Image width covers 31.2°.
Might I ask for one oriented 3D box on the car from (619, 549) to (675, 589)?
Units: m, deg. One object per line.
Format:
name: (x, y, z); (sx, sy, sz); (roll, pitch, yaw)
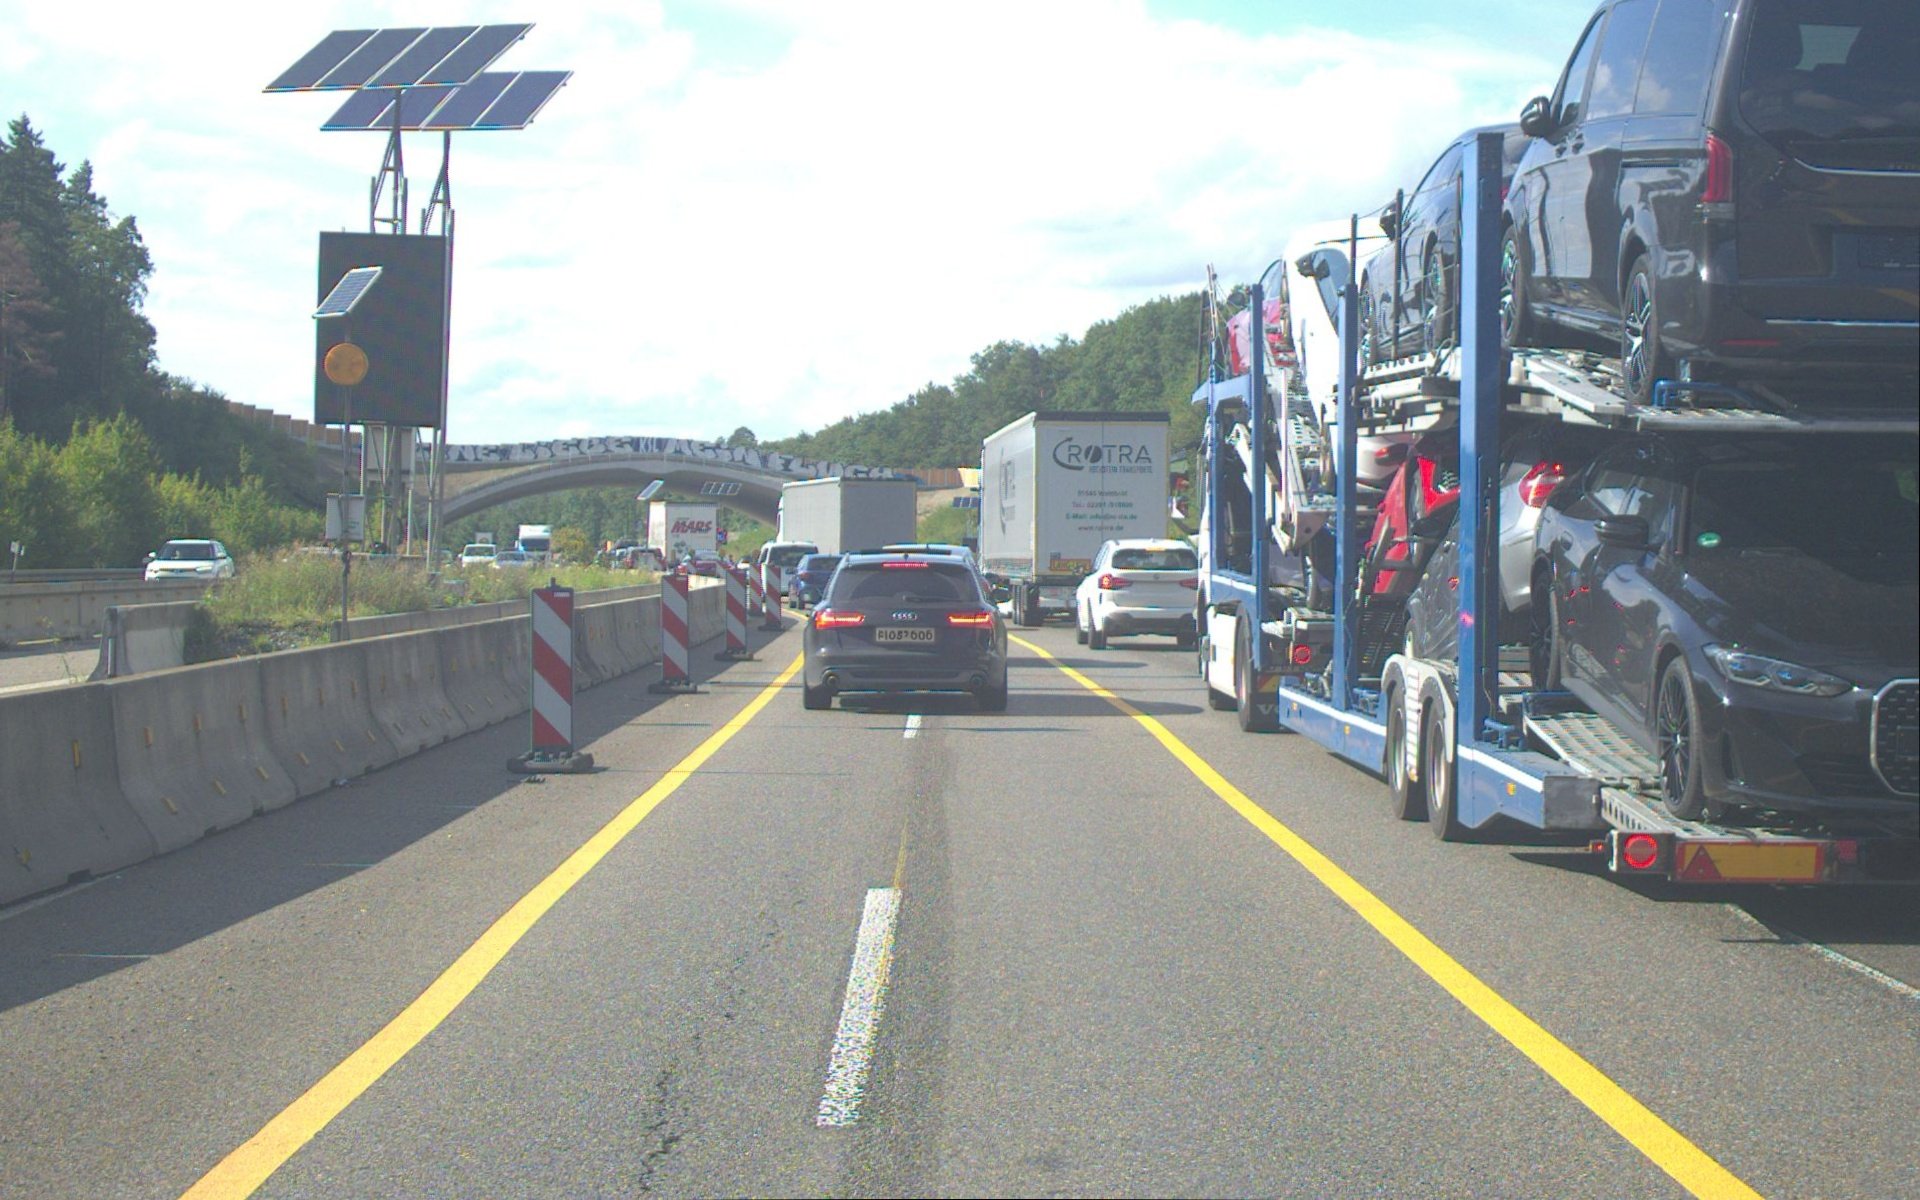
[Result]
car: (-12.991, -1.286, 142.378); (1.777, 1.597, 4.019); (1, 1, -13)

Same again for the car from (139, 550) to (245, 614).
car: (-19.902, -0.491, 89.232); (1.778, 1.597, 4.018); (1, 1, 1)

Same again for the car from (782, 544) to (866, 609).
car: (-3.560, -0.633, 89.370); (1.890, 1.637, 4.019); (1, 1, -6)

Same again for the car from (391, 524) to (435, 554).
car: (-29.788, -3.297, 187.299); (1.968, 1.597, 4.948); (1, 1, -4)

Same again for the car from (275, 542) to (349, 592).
car: (-21.316, -1.091, 113.180); (1.778, 1.597, 4.677); (1, 1, -3)

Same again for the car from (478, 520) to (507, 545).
car: (-35.275, -5.095, 259.499); (1.780, 1.860, 4.001); (1, 1, -3)

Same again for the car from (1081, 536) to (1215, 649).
car: (2.830, -0.139, 52.534); (1.890, 1.637, 4.018); (1, 1, 1)

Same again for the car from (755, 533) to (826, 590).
car: (-5.095, -1.151, 102.731); (1.890, 1.637, 4.018); (1, 1, -6)

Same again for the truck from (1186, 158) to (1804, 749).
truck: (4.105, -1.106, 28.657); (3.761, 4.182, 7.951); (1, 1, -1)

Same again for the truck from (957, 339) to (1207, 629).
truck: (2.261, -2.265, 71.874); (3.677, 5.335, 16.203); (1, 1, -3)

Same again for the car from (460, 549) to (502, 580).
car: (-25.650, -1.901, 184.125); (1.778, 1.597, 4.018); (1, 1, -2)

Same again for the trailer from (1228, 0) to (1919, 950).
trailer: (4.201, -0.947, 20.333); (3.726, 4.182, 16.228); (1, 1, -1)

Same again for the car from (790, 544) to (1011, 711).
car: (-0.490, 0.214, 32.142); (1.890, 1.441, 4.000); (1, 1, 1)

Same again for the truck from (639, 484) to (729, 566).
truck: (-13.928, -3.718, 172.519); (3.653, 3.915, 11.070); (1, 1, -9)

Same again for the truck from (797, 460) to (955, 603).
truck: (-2.991, -2.306, 117.376); (4.318, 4.584, 11.127); (1, 1, -7)
